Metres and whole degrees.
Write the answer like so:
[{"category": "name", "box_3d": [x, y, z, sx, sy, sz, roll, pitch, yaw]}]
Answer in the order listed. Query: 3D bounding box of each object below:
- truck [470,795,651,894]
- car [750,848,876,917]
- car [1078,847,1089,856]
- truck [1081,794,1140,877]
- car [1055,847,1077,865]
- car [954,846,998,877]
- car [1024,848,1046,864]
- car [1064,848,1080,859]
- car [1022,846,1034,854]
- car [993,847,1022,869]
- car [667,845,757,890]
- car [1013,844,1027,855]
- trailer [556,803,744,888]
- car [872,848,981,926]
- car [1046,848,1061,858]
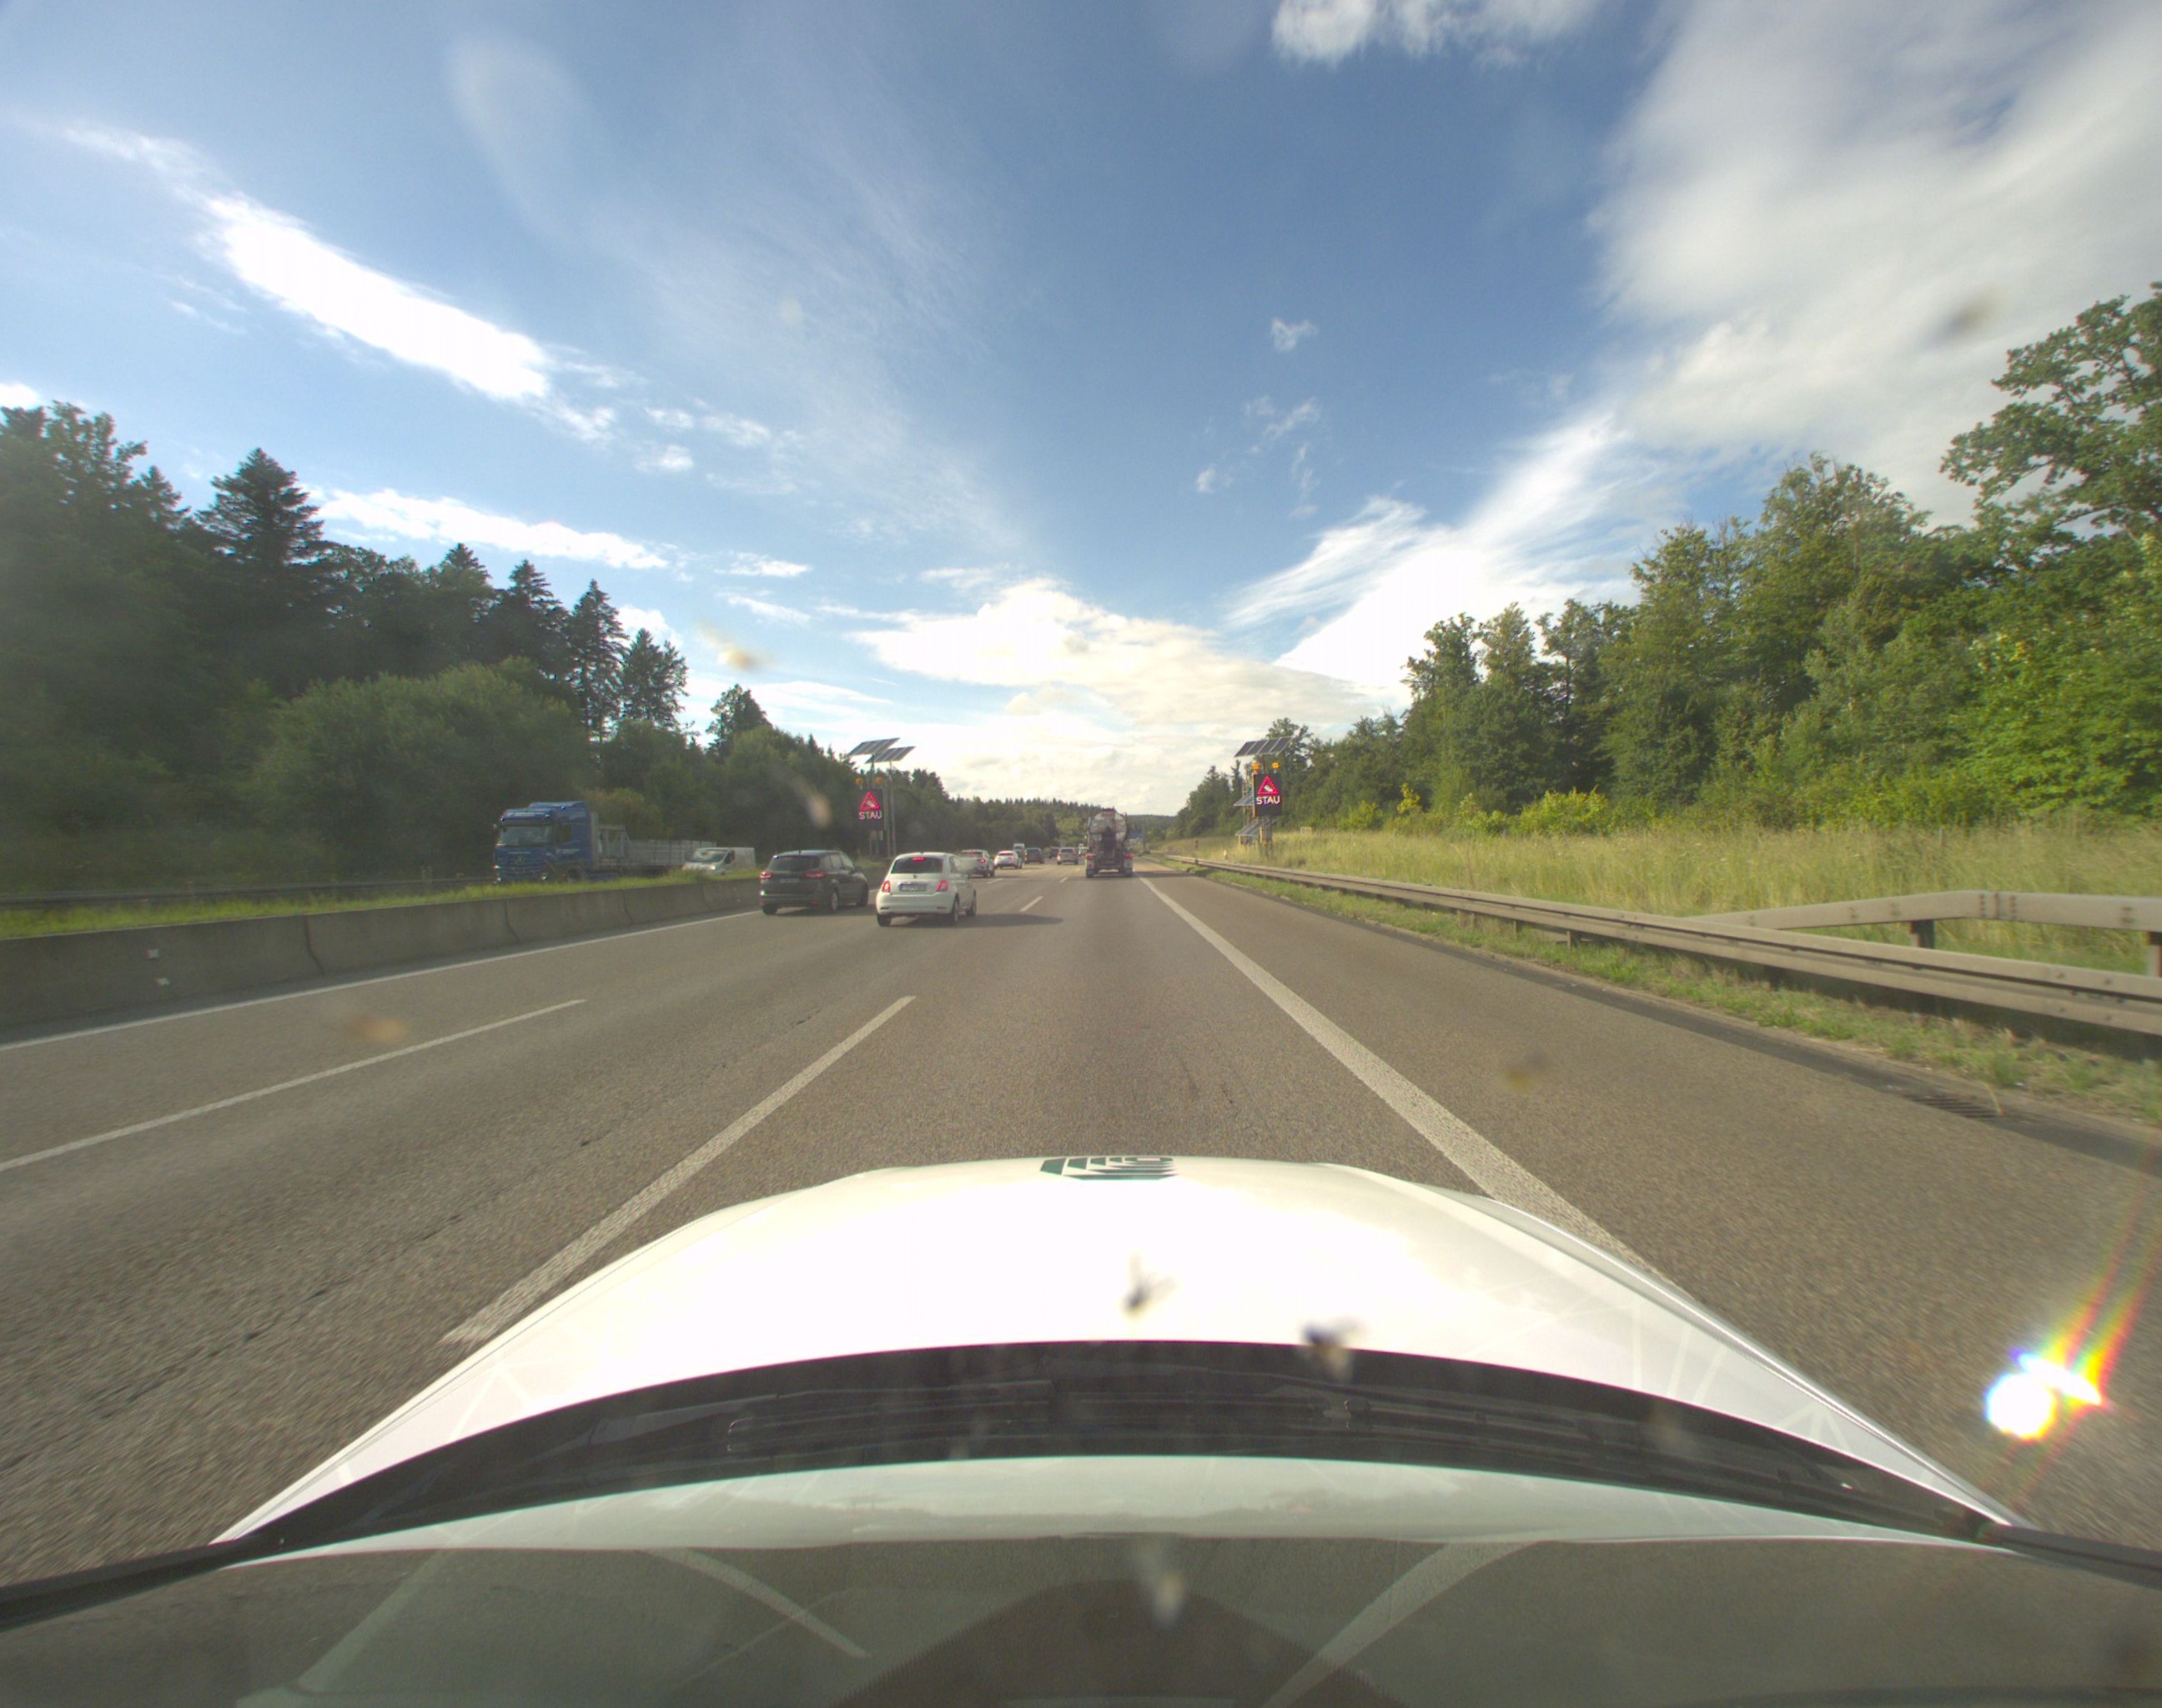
[{"category": "truck", "box_3d": [-22.460, -0.399, 35.737, 3.103, 3.837, 7.126, -1, 0, 2]}, {"category": "car", "box_3d": [-6.926, 0.666, 21.534, 1.800, 1.585, 4.209, 0, 1, 2]}, {"category": "car", "box_3d": [0.456, -0.486, 141.511, 1.935, 1.456, 4.209, 0, 1, 2]}, {"category": "truck", "box_3d": [1.720, -0.994, 46.896, 2.901, 4.157, 11.277, -1, 0, 2]}, {"category": "car", "box_3d": [-1.386, 0.178, 78.803, 1.935, 1.654, 4.209, 0, 1, 2]}, {"category": "car", "box_3d": [-5.799, 0.363, 45.480, 1.800, 1.585, 4.209, 0, 1, 2]}, {"category": "car", "box_3d": [-4.714, 0.186, 83.813, 1.935, 1.585, 4.209, 0, 1, 2]}, {"category": "car", "box_3d": [-1.202, -0.132, 112.294, 1.935, 1.456, 4.209, 0, 1, 2]}, {"category": "car", "box_3d": [-14.430, -1.137, 222.559, 2.569, 2.138, 5.969, -1, 0, 2]}, {"category": "car", "box_3d": [-5.764, 0.279, 64.593, 1.800, 1.585, 4.209, 0, 1, 2]}, {"category": "car", "box_3d": [-17.908, 0.609, 39.819, 1.986, 2.013, 4.862, -1, 0, 2]}, {"category": "car", "box_3d": [-12.878, -1.034, 172.905, 2.101, 2.312, 6.727, -1, 0, 2]}, {"category": "trailer", "box_3d": [-22.209, -0.447, 43.306, 3.112, 3.837, 12.214, -1, 0, 2]}, {"category": "car", "box_3d": [-3.276, 0.648, 17.875, 1.612, 1.544, 3.521, 0, 0, 2]}, {"category": "car", "box_3d": [-4.144, -0.126, 121.768, 1.935, 1.456, 4.209, 0, 1, 2]}]
